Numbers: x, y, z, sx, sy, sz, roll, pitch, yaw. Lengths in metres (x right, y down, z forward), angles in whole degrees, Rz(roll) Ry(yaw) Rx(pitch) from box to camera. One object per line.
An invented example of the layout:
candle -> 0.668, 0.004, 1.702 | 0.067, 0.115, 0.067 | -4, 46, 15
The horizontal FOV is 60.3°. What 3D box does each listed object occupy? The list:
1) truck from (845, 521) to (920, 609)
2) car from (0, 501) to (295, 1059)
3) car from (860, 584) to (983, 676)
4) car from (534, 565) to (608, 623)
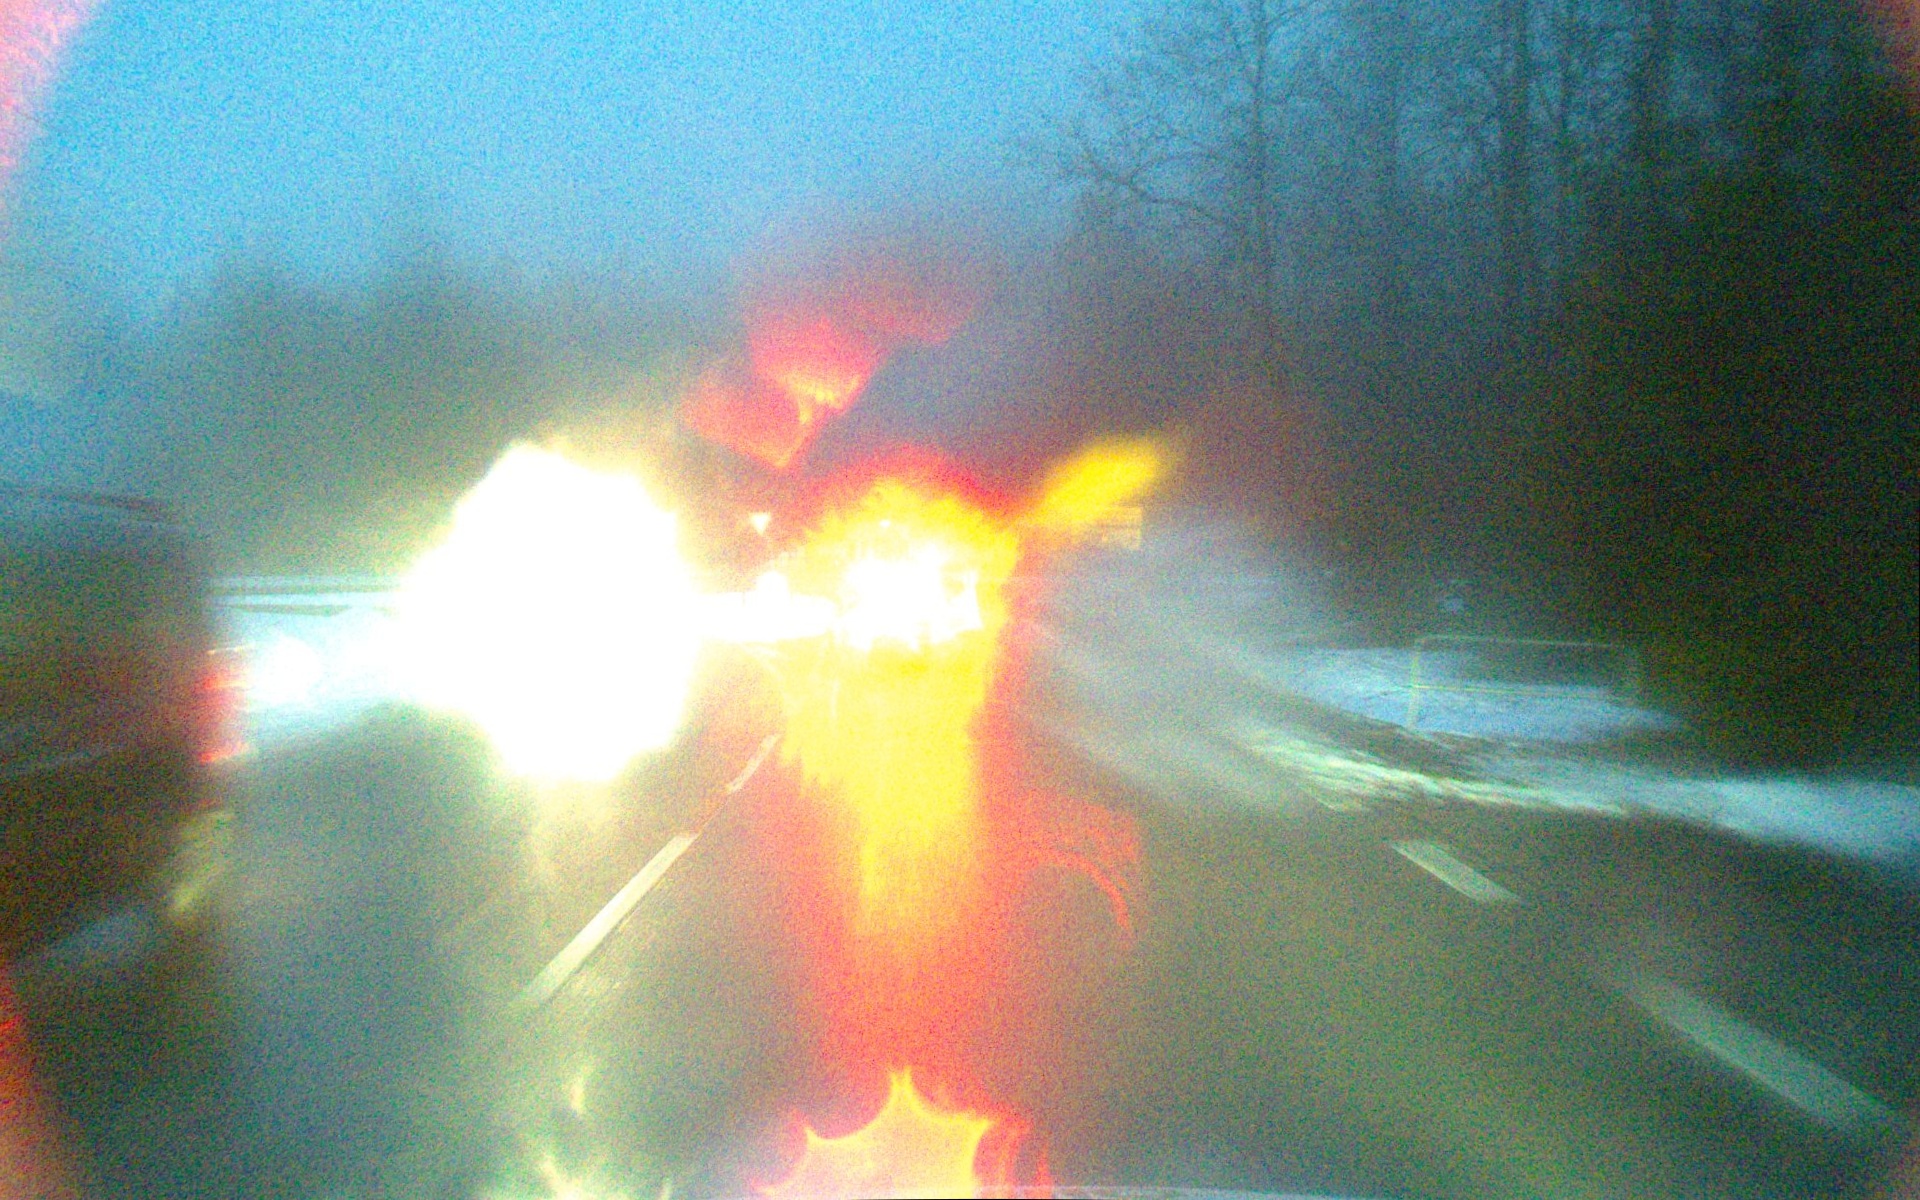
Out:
truck -> -2.683, -1.179, 56.156 | 2.037, 2.793, 5.310 | 1, 1, -8
car -> -3.840, 0.554, 5.392 | 1.717, 1.723, 4.424 | 0, 1, -3
car -> -0.724, 0.450, 27.831 | 1.884, 1.299, 3.998 | 1, 2, -4
car -> -11.110, -0.220, 47.435 | 1.709, 1.512, 3.997 | -2, 2, -9
